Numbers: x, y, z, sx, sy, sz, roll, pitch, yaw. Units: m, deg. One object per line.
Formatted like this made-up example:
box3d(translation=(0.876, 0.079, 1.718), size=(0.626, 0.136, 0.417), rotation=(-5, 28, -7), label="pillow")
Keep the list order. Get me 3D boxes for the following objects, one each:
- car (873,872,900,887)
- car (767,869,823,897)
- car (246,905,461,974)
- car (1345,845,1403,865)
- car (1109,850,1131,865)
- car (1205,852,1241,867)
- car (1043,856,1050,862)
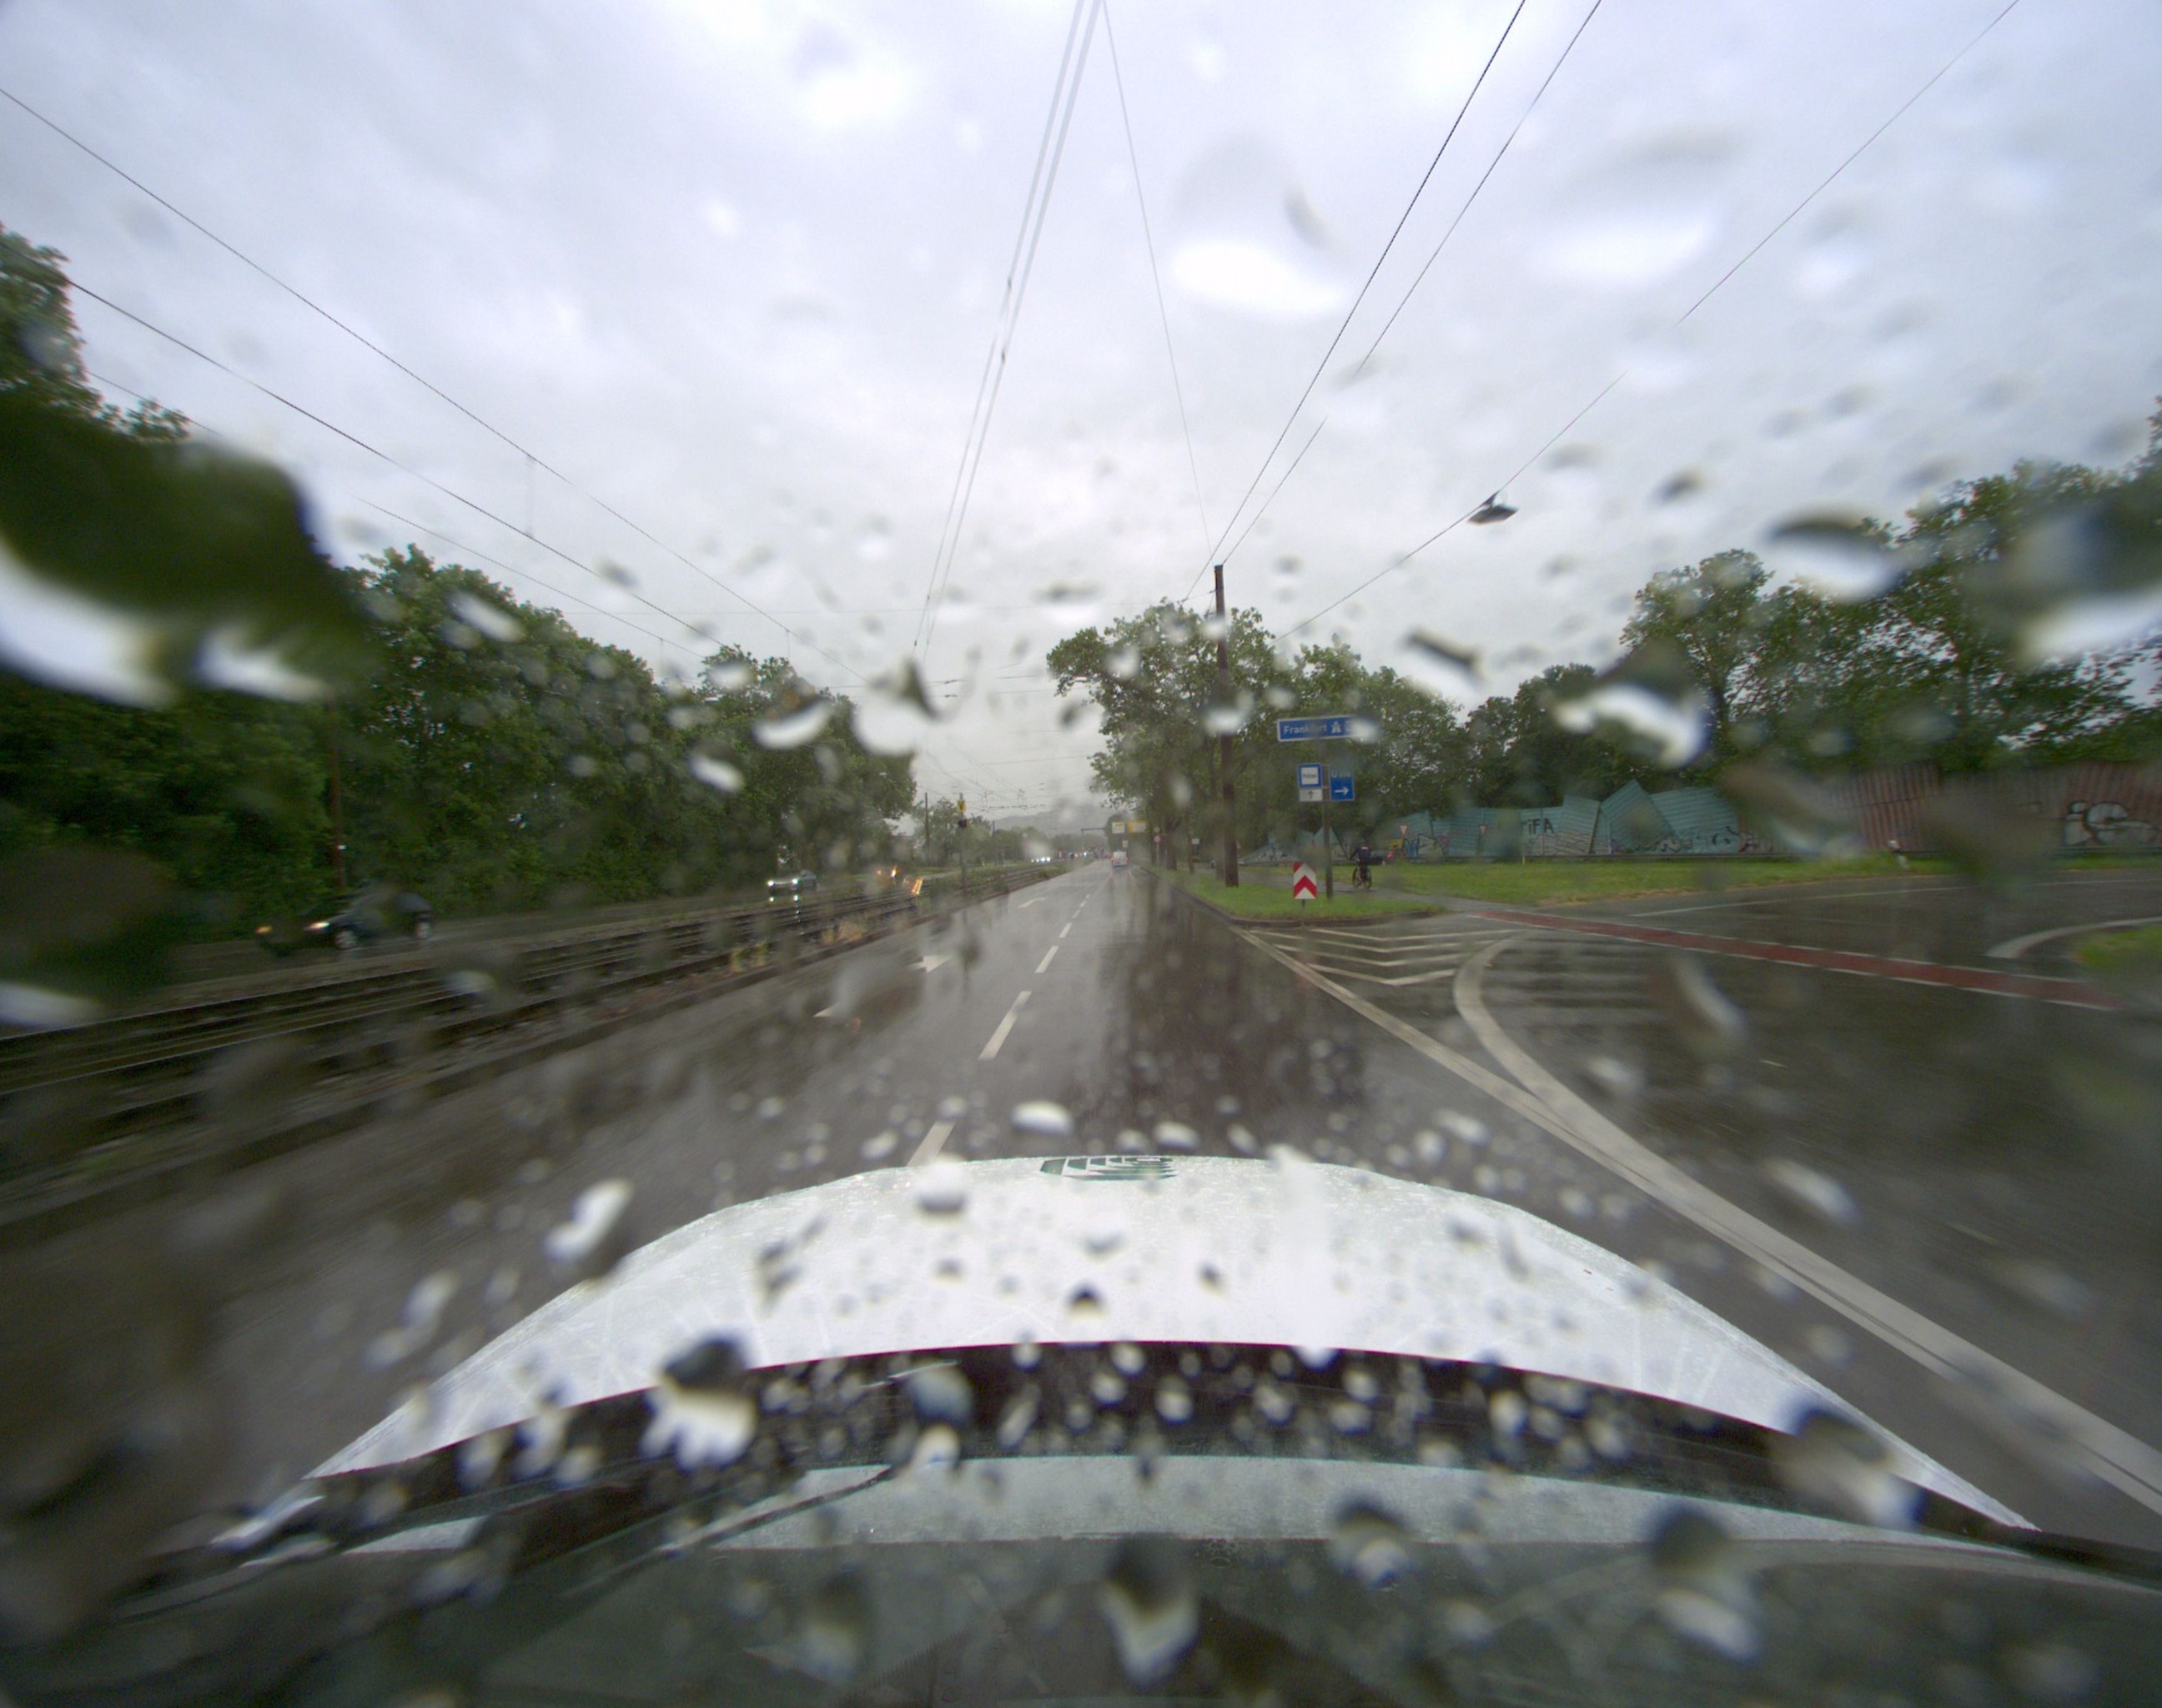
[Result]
box3d(translation=(-20.130, 2.602, 84.446), size=(1.676, 1.406, 3.940), rotation=(-2, 0, 1), label="car")
box3d(translation=(-17.928, 1.778, 51.349), size=(1.685, 1.523, 4.955), rotation=(-2, 0, 0), label="car")
box3d(translation=(-19.240, 2.204, 21.873), size=(1.765, 1.330, 4.380), rotation=(-2, 0, 1), label="car")
box3d(translation=(24.041, 0.133, 66.964), size=(1.872, 1.536, 4.480), rotation=(-2, 0, -24), label="car")
box3d(translation=(3.992, 0.364, 83.822), size=(2.070, 1.420, 4.002), rotation=(-3, 0, 2), label="car")
box3d(translation=(15.149, 0.633, 87.243), size=(1.953, 1.536, 4.440), rotation=(-2, 0, -18), label="car")
box3d(translation=(-9.732, 1.315, 229.365), size=(1.938, 1.616, 4.985), rotation=(-2, 0, -2), label="car")
